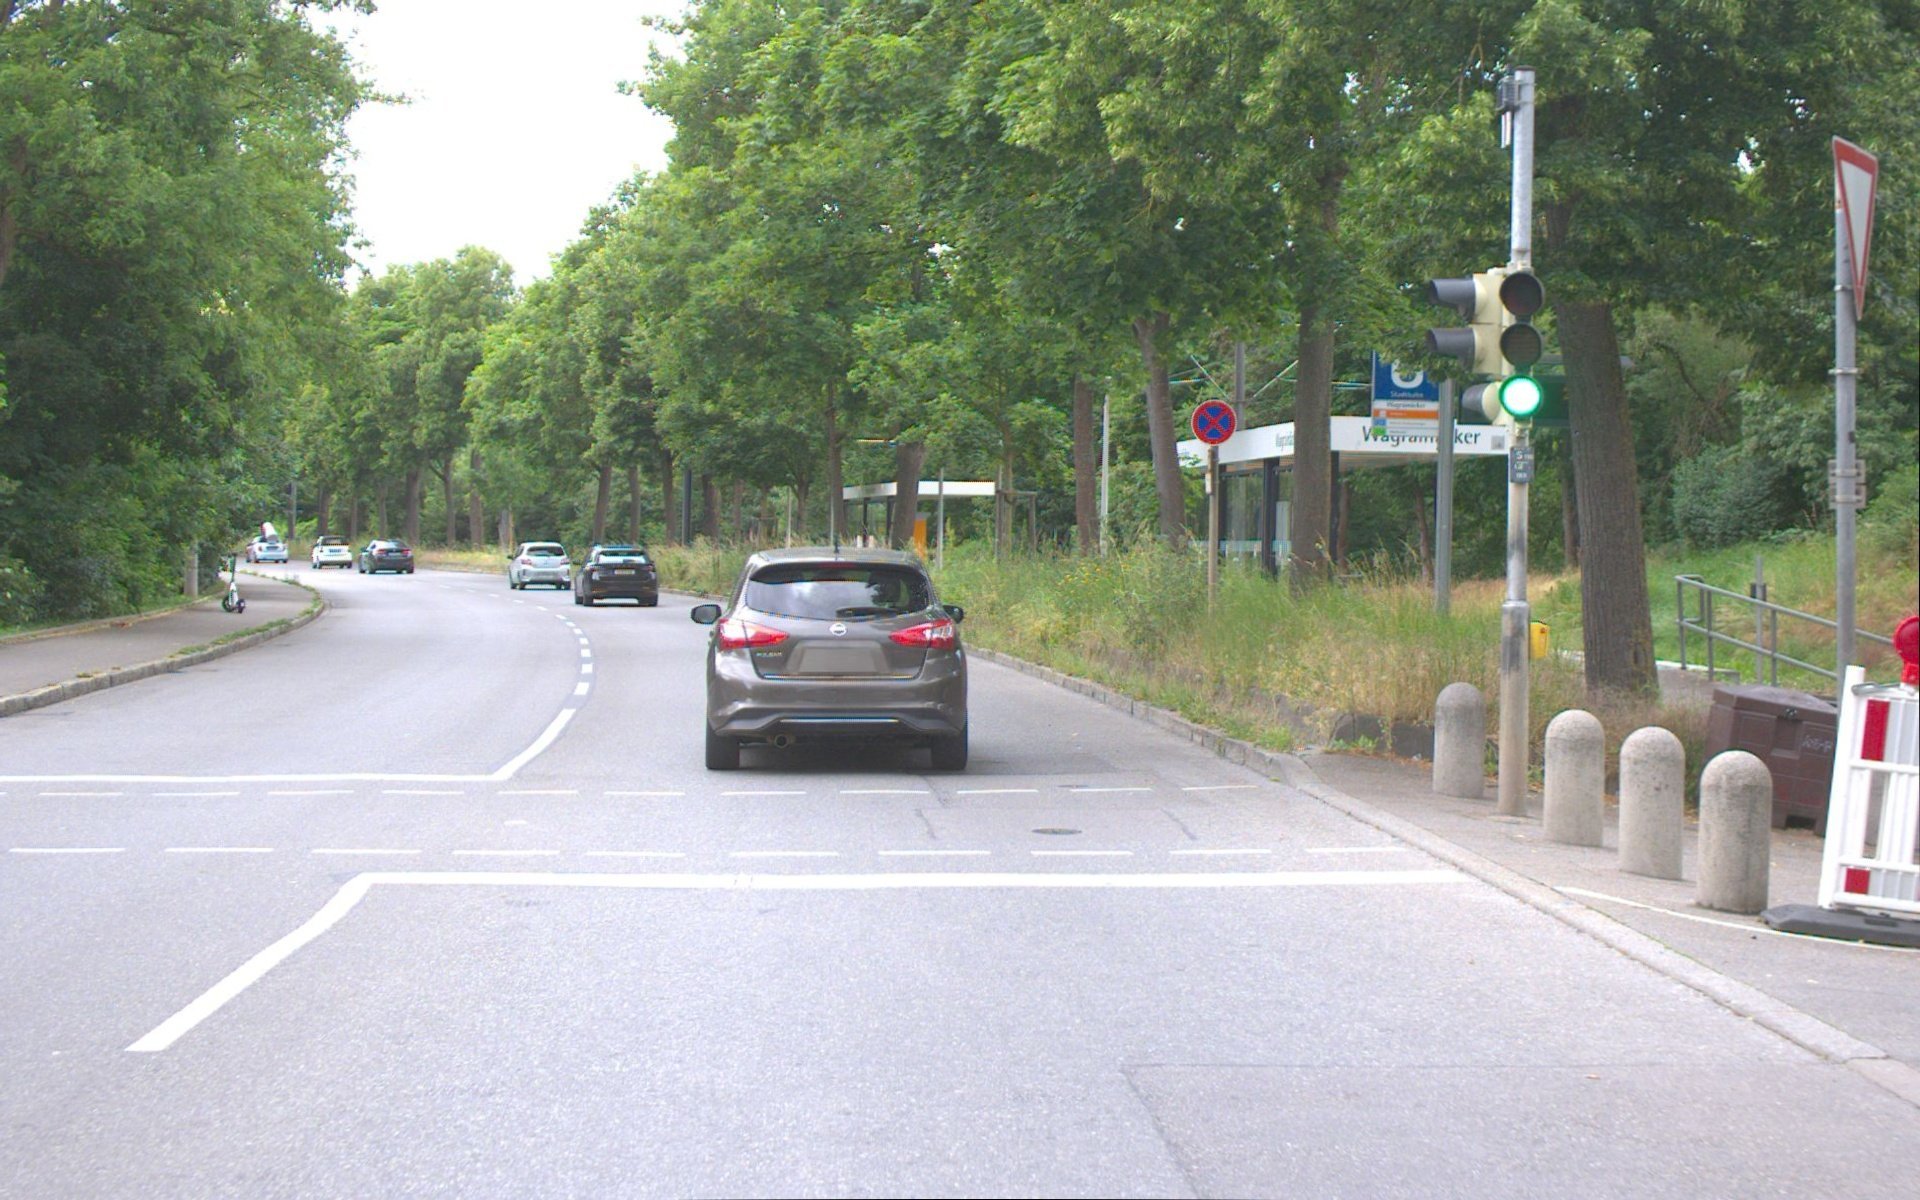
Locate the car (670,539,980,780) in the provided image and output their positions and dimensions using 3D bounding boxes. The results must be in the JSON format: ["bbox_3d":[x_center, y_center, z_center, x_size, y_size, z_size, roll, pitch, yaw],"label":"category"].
[{"bbox_3d":[-1.044,0.351,24.393,1.815,1.503,4.001,0,2,-8],"label":"car"}]

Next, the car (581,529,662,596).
[{"bbox_3d":[-8.098,-0.915,82.565,1.775,1.467,4.001,3,1,-4],"label":"car"}]

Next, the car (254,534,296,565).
[{"bbox_3d":[-36.198,-2.660,181.619,1.775,1.467,4.002,3,1,-16],"label":"car"}]

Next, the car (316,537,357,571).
[{"bbox_3d":[-29.308,-2.170,161.609,1.775,1.467,4.001,2,1,-9],"label":"car"}]

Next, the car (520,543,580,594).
[{"bbox_3d":[-12.892,-1.001,108.104,1.775,1.467,4.001,3,1,-7],"label":"car"}]

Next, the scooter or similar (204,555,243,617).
[{"bbox_3d":[-14.371,-0.284,67.090,0.364,1.180,1.298,2,1,-28],"label":"scooter or similar"}]

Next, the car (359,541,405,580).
[{"bbox_3d":[-24.511,-1.692,145.817,1.775,1.467,4.001,4,0,-10],"label":"car"}]
